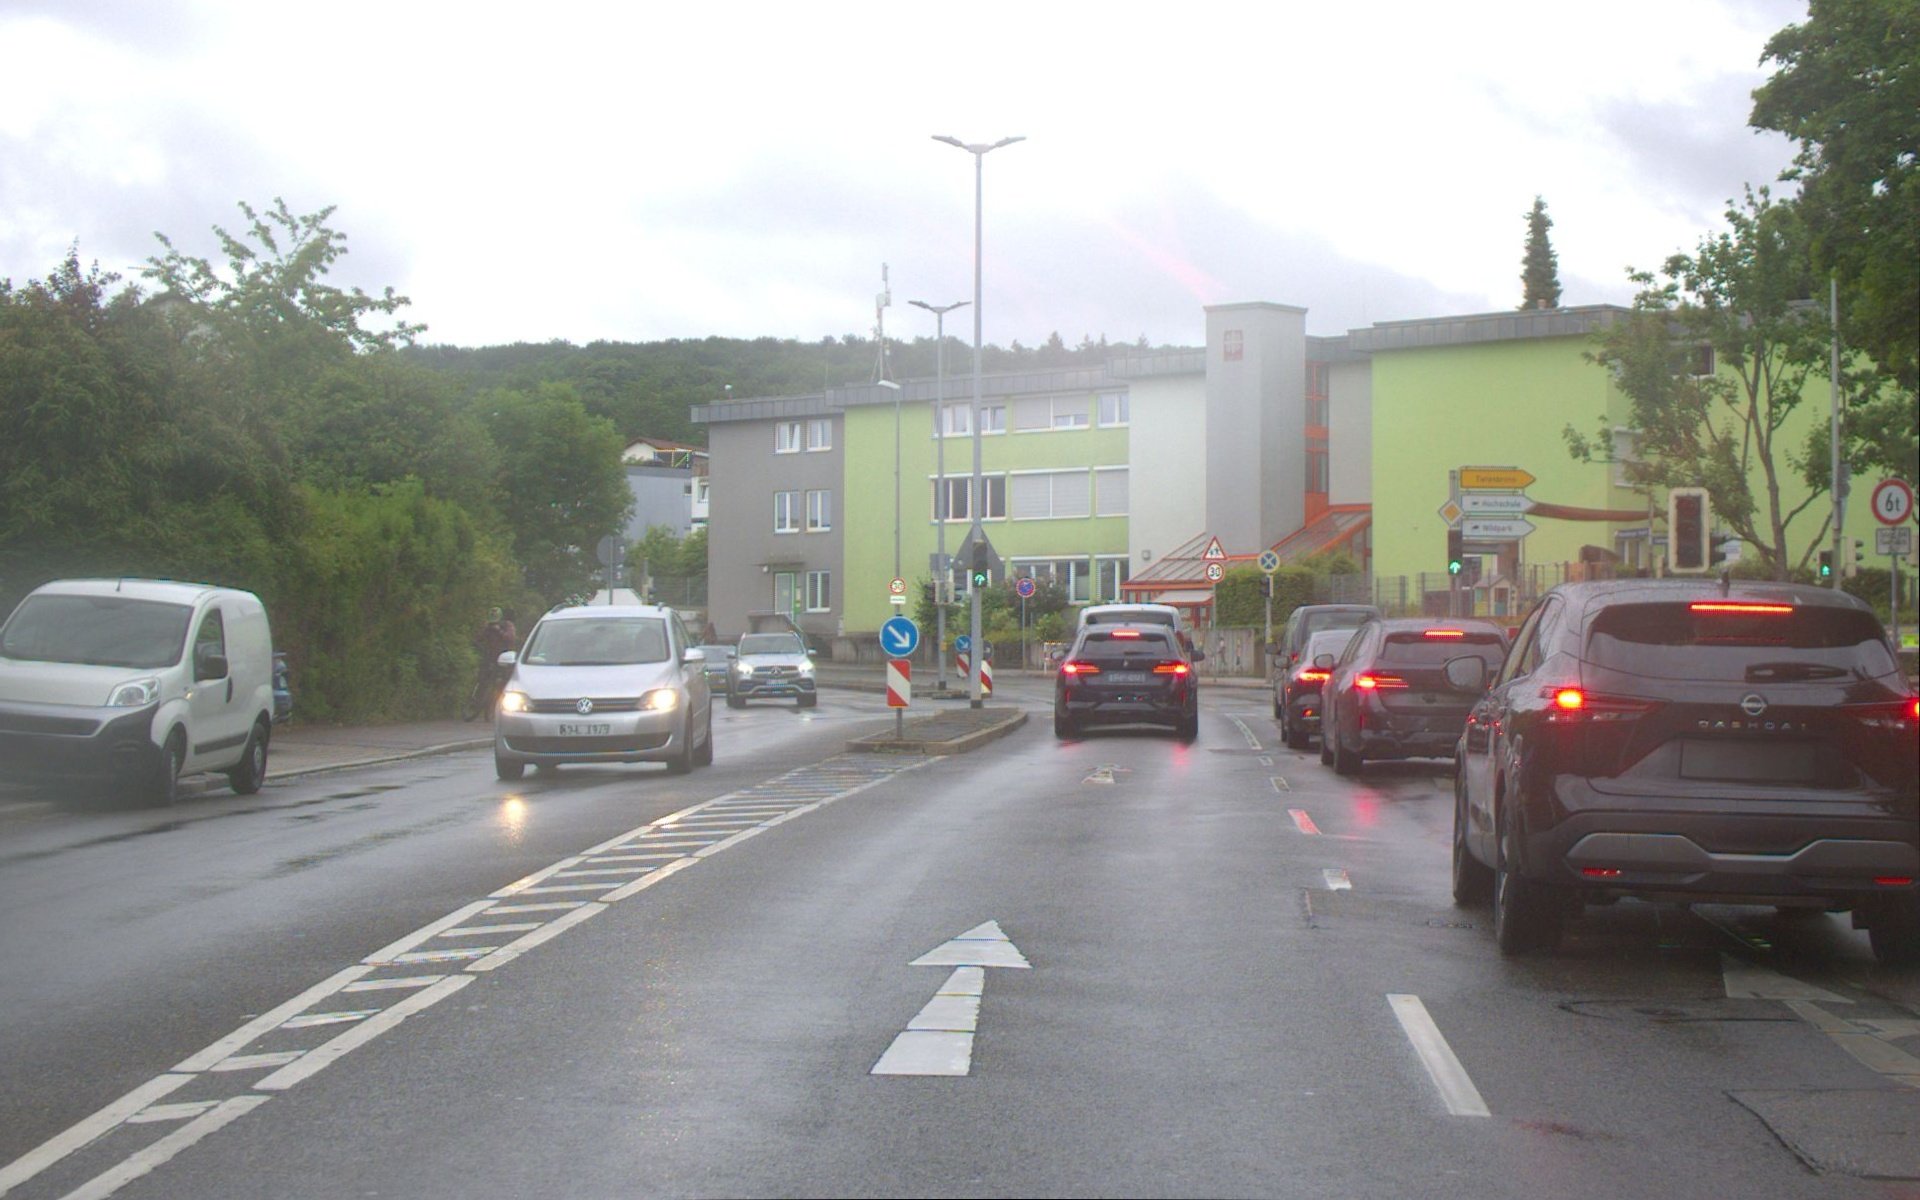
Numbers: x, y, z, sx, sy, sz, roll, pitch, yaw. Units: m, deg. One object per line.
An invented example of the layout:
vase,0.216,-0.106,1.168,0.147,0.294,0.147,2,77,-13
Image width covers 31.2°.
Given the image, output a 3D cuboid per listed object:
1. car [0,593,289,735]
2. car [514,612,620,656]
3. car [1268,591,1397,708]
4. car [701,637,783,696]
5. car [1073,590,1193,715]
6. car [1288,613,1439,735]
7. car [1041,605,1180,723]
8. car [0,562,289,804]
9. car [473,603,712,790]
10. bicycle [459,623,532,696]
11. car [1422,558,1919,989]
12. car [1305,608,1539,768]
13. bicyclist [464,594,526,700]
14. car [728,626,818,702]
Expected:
car,-9.674,0.651,37.164,4.482,1.357,1.805,2,1,-2
car,-17.325,1.497,151.549,4.393,1.766,2.000,-2,-1,-13
car,5.960,0.763,55.390,1.783,1.728,4.086,2,1,3
car,-6.078,1.846,95.622,1.993,1.569,4.001,1,-1,-7
car,2.714,0.798,54.574,1.717,1.838,4.086,1,0,1
car,4.916,0.886,42.329,1.707,1.422,4.507,0,-1,5
car,1.995,0.836,46.481,1.682,1.501,3.773,1,0,0
car,-6.722,0.607,27.307,1.701,1.702,3.978,4,0,3
car,-3.364,0.852,32.161,1.635,1.574,4.057,-3,0,2
bicycle,-7.129,0.922,52.860,0.747,1.083,1.989,2,-1,2
car,3.122,0.650,15.547,1.790,1.598,4.253,2,1,5
car,4.436,0.823,33.612,1.905,1.454,4.777,0,-1,3
bicyclist,-7.137,0.724,52.761,0.764,1.606,0.868,1,-1,2
car,-4.443,1.511,82.264,2.041,1.710,4.482,-1,0,-2
